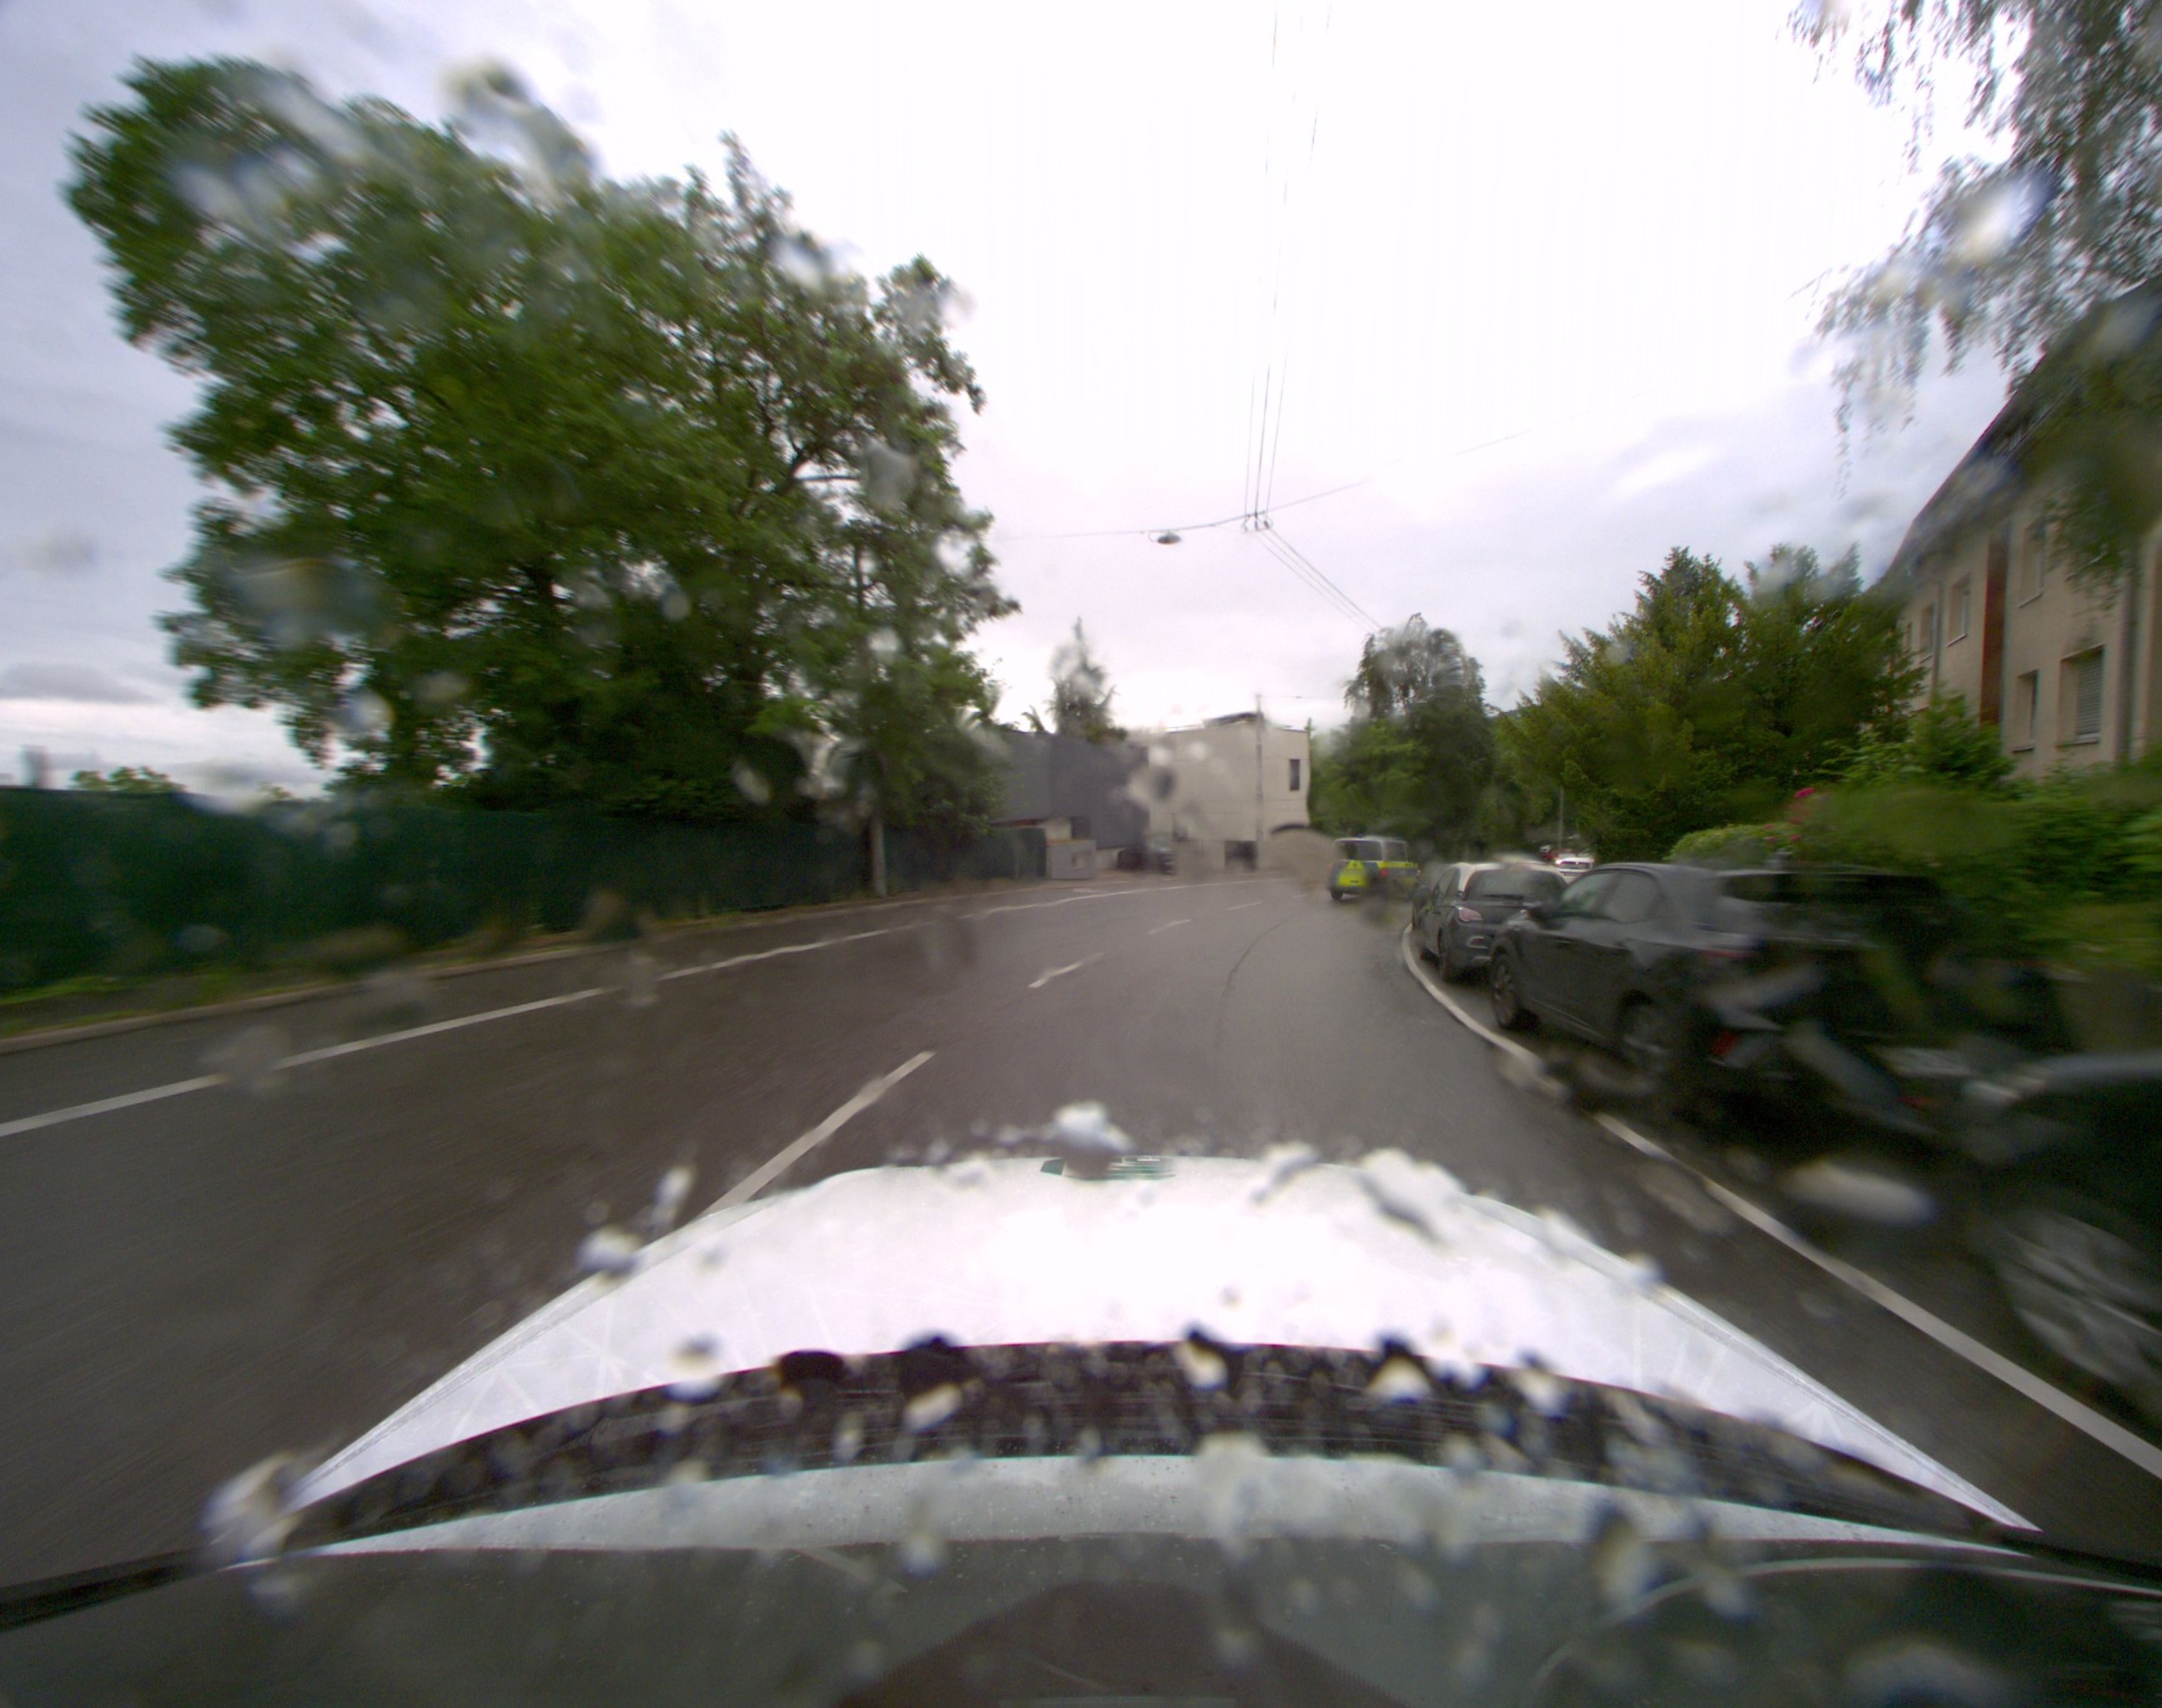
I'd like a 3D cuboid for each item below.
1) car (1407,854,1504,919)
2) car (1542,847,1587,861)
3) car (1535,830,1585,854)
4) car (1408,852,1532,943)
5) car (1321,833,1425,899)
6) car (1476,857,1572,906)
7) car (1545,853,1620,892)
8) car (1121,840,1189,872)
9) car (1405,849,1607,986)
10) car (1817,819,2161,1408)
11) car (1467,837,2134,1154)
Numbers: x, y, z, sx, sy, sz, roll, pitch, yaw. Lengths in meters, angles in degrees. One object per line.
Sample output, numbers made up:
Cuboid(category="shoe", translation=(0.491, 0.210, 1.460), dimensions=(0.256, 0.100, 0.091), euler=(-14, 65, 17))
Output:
Cuboid(category="car", translation=(9.267, 0.723, 19.934), dimensions=(1.790, 1.348, 4.648), euler=(-1, 0, 29))
Cuboid(category="car", translation=(52.441, 0.021, 88.441), dimensions=(1.783, 1.367, 4.176), euler=(-3, 0, -14))
Cuboid(category="car", translation=(55.358, -1.381, 94.224), dimensions=(4.365, 1.842, 2.008), euler=(-12, 0, 14))
Cuboid(category="car", translation=(7.237, 0.717, 15.531), dimensions=(1.791, 1.435, 4.555), euler=(-1, 0, 21))
Cuboid(category="car", translation=(9.361, 0.359, 25.839), dimensions=(1.974, 1.893, 4.599), euler=(0, -1, 35))
Cuboid(category="car", translation=(14.990, 0.862, 27.424), dimensions=(1.762, 1.435, 4.597), euler=(-2, 0, 42))
Cuboid(category="car", translation=(21.219, 0.734, 34.391), dimensions=(1.790, 1.455, 4.279), euler=(2, 2, 44))
Cuboid(category="car", translation=(3.156, 0.053, 35.545), dimensions=(1.892, 1.301, 3.985), euler=(0, 1, -11))
Cuboid(category="car", translation=(5.534, 0.735, 11.089), dimensions=(1.669, 1.471, 3.755), euler=(-3, 0, 16))
Cuboid(category="car", translation=(3.499, 0.653, 1.271), dimensions=(1.612, 1.505, 3.611), euler=(-3, 0, 5))
Cuboid(category="car", translation=(4.281, 0.662, 5.843), dimensions=(1.704, 1.435, 4.081), euler=(-3, 0, 11))
